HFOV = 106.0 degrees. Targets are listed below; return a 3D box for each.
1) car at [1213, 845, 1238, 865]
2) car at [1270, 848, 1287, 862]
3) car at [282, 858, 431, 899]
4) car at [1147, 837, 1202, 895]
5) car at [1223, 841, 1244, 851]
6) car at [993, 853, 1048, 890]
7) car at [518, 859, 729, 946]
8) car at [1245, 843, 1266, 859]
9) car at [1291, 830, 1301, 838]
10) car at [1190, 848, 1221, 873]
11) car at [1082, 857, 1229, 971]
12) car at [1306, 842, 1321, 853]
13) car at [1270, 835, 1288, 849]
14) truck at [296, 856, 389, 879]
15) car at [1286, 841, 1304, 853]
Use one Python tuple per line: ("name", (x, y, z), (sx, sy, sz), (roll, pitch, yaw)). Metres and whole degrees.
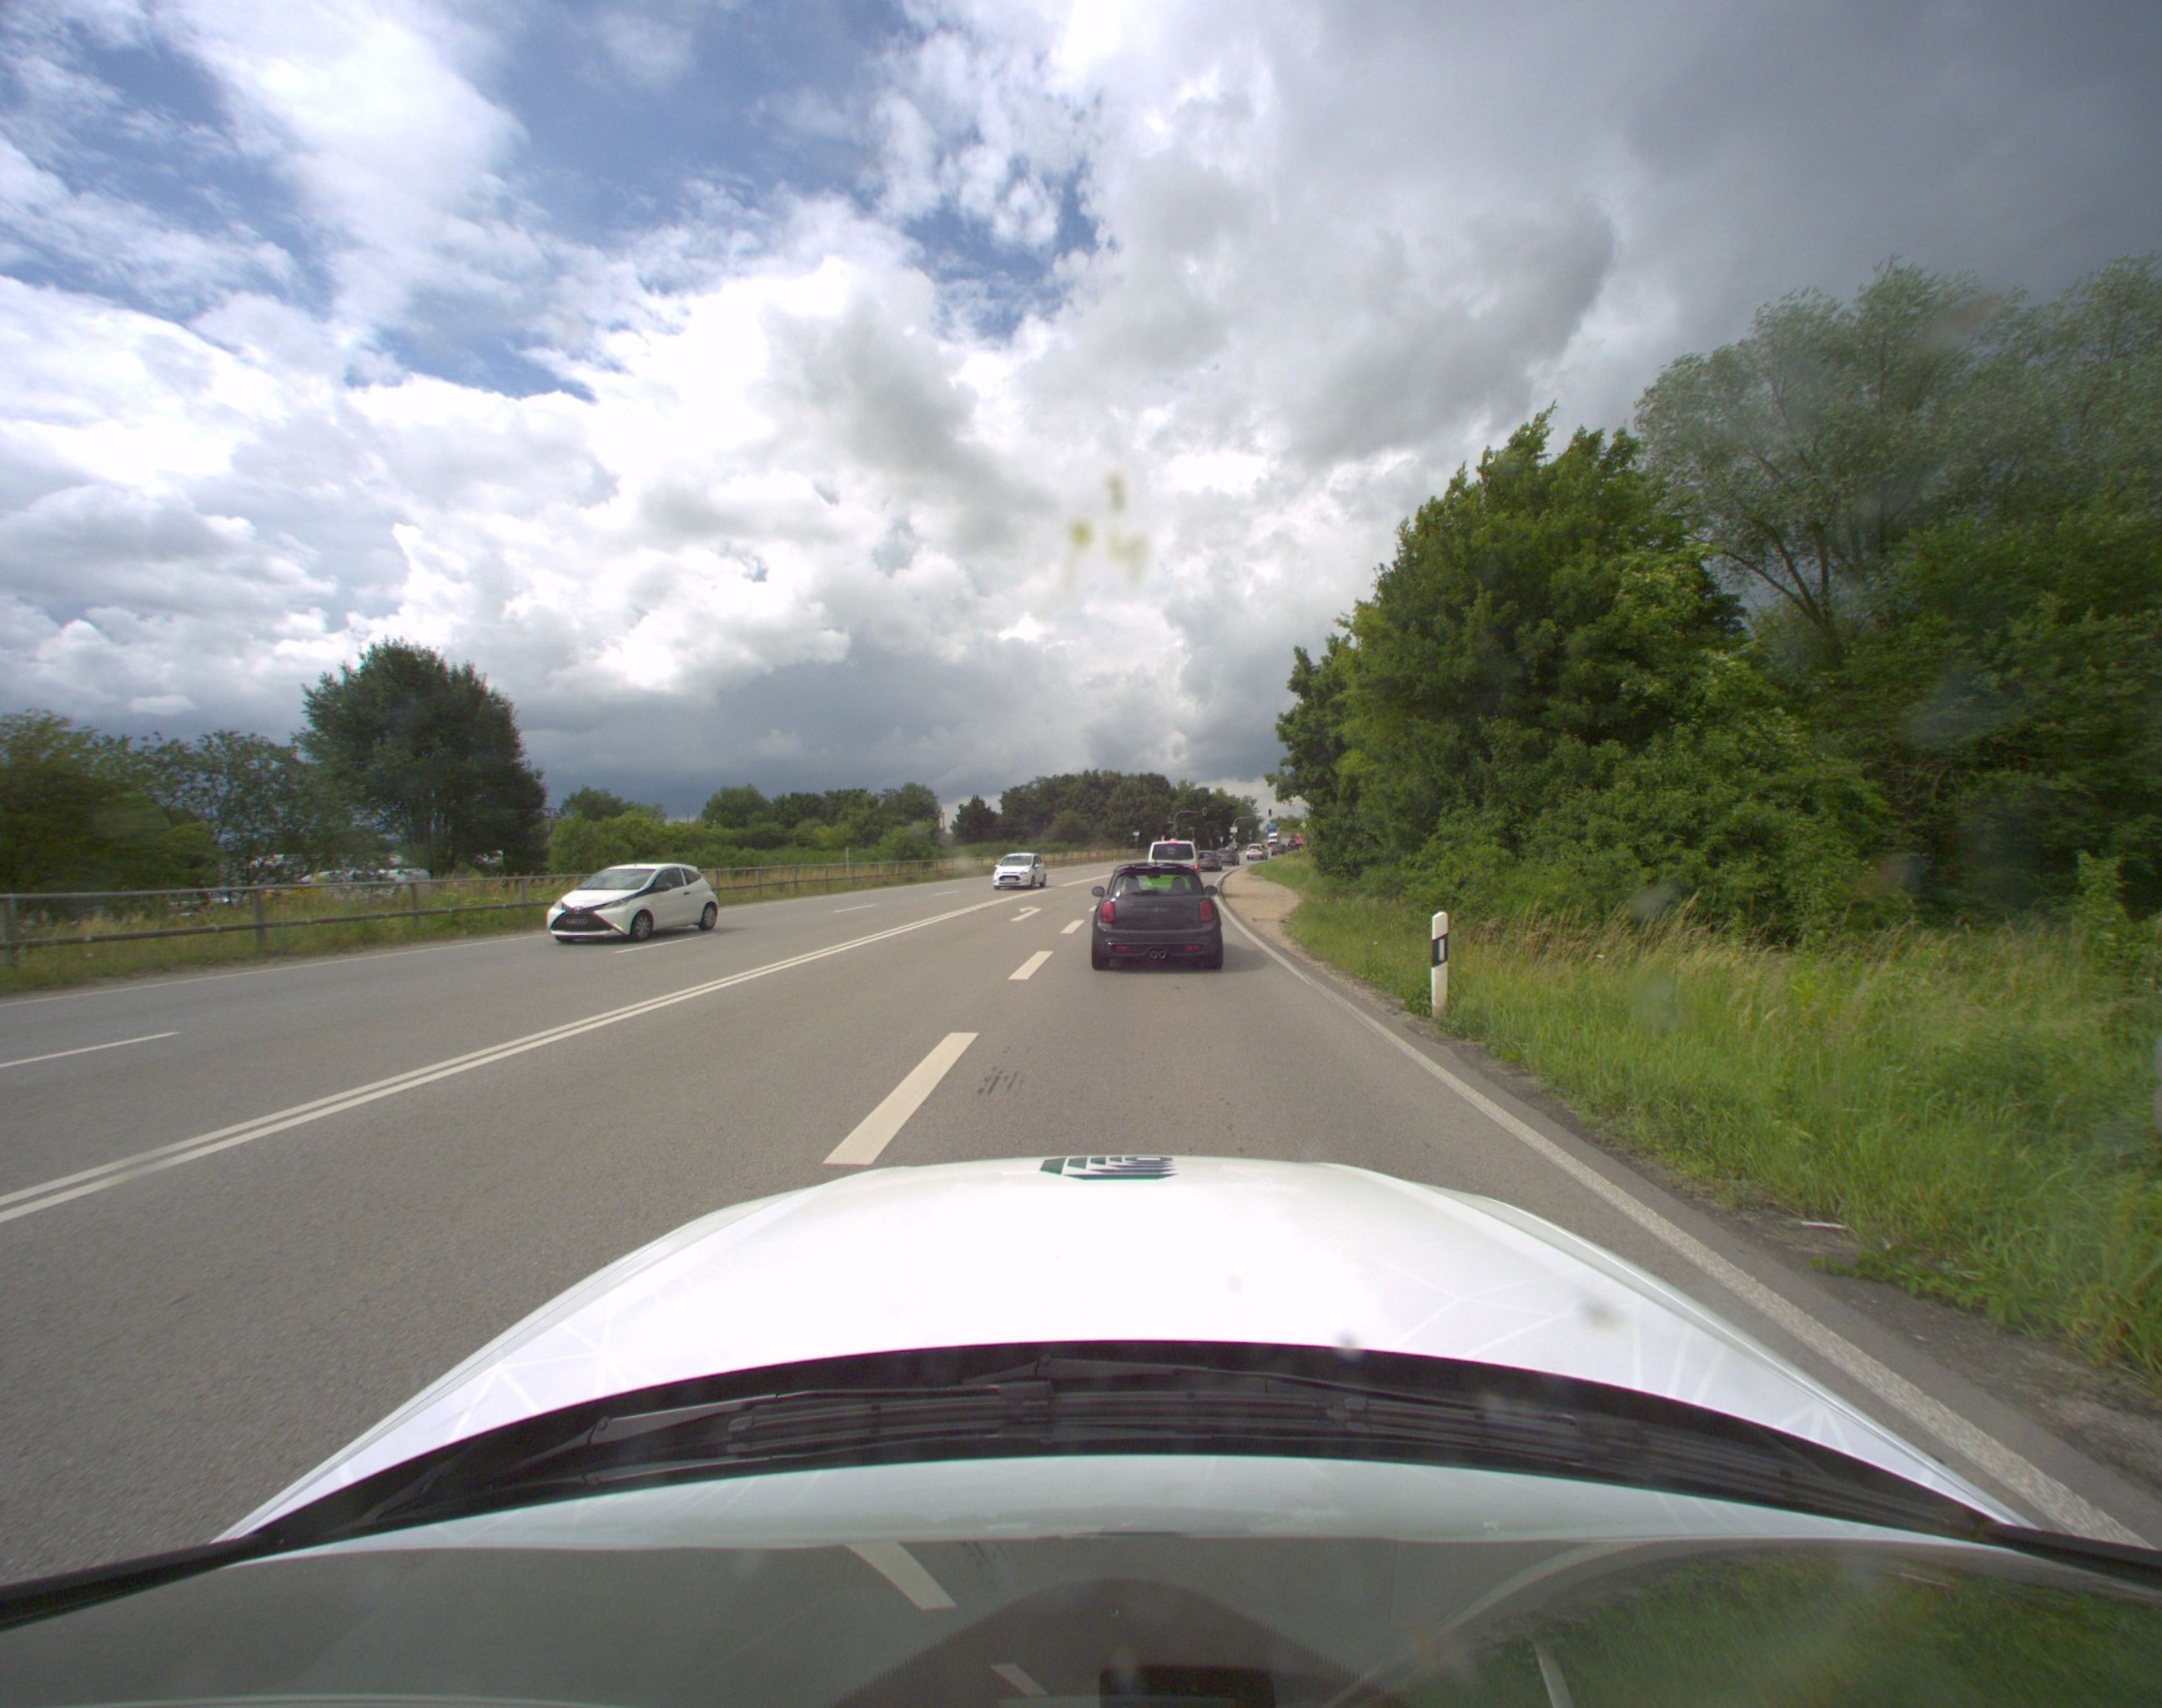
("car", (12.504, 0.109, 70.412), (1.981, 1.684, 3.988), (0, 0, 10))
("car", (24.434, 0.120, 100.860), (1.979, 1.684, 4.015), (0, 0, 14))
("car", (-32.474, 1.082, 36.663), (4.573, 1.734, 1.992), (0, 0, -12))
("car", (3.371, 0.419, 29.760), (1.836, 1.987, 3.847), (0, 0, 5))
("car", (24.051, -1.270, 128.208), (1.791, 1.441, 4.381), (-1, 0, 32))
("car", (-2.620, 0.738, 36.251), (1.721, 1.518, 4.007), (0, 0, 6))
("car", (-8.918, 0.865, 16.290), (1.868, 1.489, 3.748), (-1, 0, 4))
("car", (18.551, -0.295, 86.345), (1.979, 1.684, 4.016), (0, 0, 15))
("car", (58.250, -5.380, 220.933), (1.984, 2.014, 4.006), (0, -1, 5))
("car", (8.660, 0.451, 56.893), (1.983, 1.684, 4.007), (0, 0, 7))
("car", (1.065, 0.778, 12.158), (1.837, 1.428, 3.845), (0, -1, 4))
("car", (38.172, -1.071, 133.760), (1.977, 1.695, 4.508), (1, 0, 20))
("car", (39.652, -2.448, 163.030), (2.412, 2.674, 6.926), (-1, 1, 23))
("truck", (-68.427, 1.249, 75.620), (1.979, 2.014, 6.255), (-1, -1, 15))
("car", (30.838, -1.043, 117.108), (1.976, 1.695, 4.509), (-1, 1, 21))
